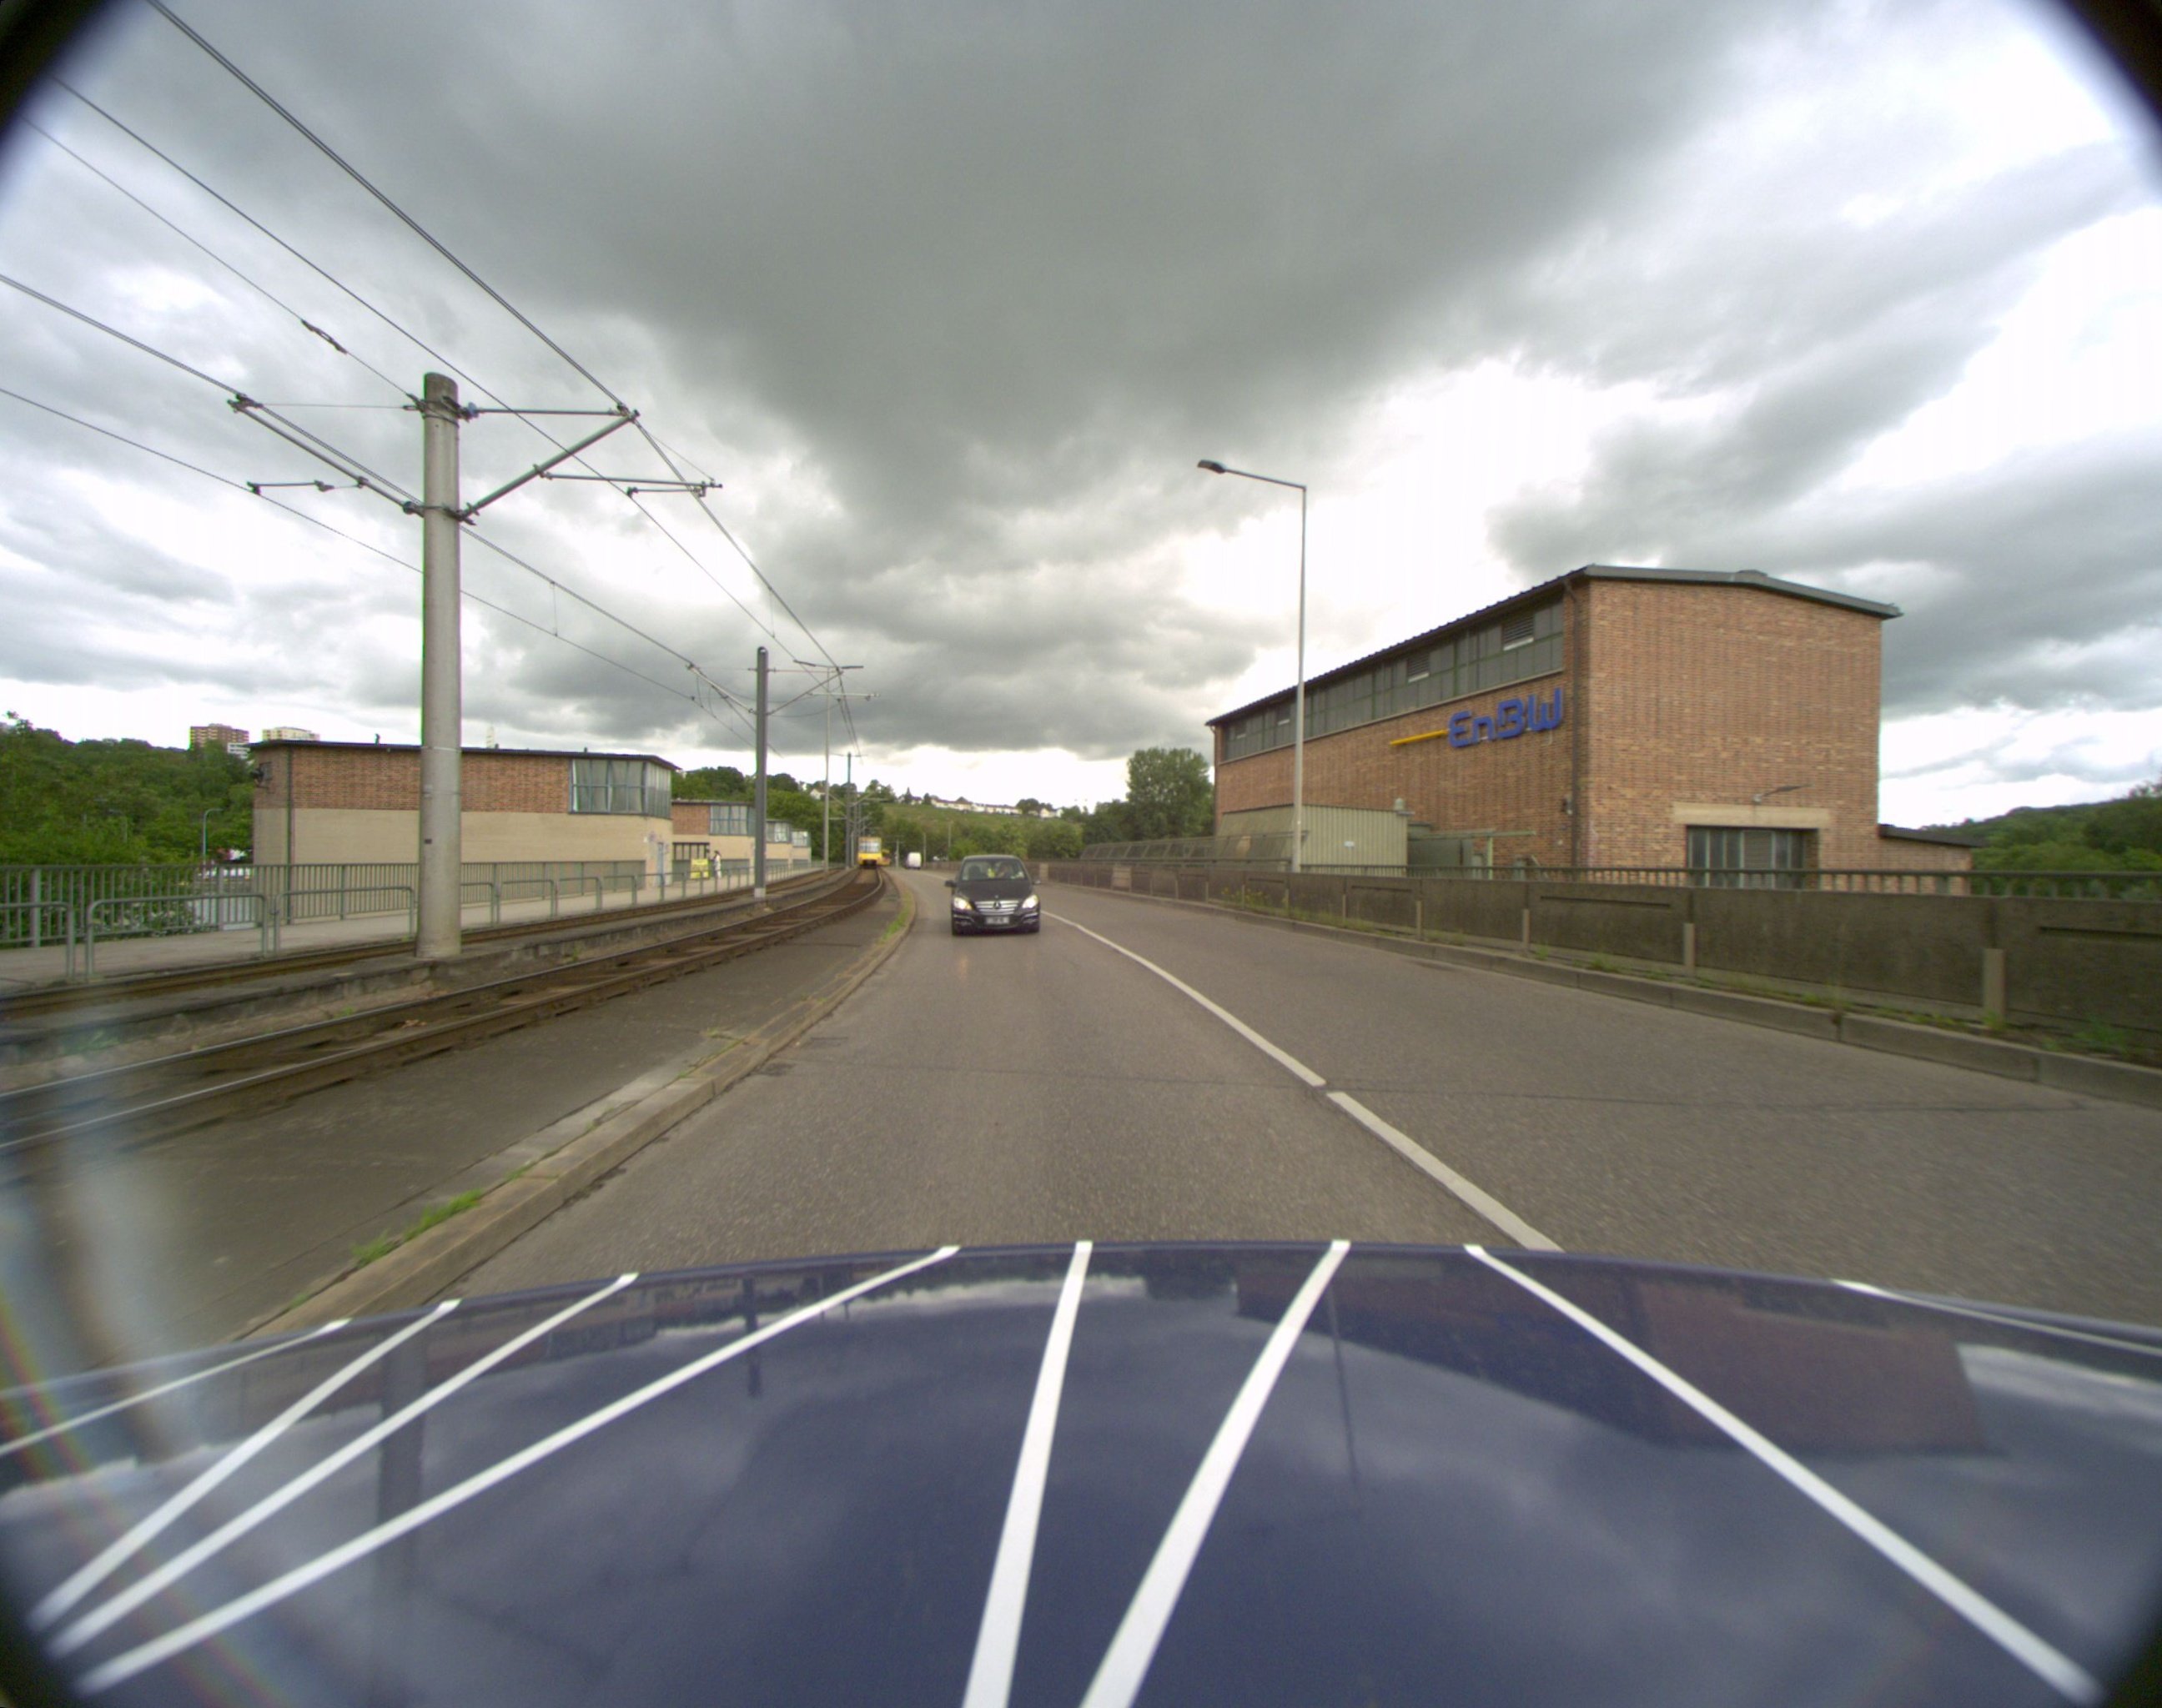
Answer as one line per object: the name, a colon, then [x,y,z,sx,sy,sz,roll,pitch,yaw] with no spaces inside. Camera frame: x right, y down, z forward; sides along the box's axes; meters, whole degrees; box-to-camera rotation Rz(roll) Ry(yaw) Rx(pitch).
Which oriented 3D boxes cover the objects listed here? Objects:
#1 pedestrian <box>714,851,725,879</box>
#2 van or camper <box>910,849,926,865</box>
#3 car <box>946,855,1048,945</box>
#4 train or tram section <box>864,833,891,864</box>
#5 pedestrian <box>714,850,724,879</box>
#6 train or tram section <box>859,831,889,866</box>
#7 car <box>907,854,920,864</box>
pedestrian: [-21.181,0.624,44.536,0.512,1.655,0.351,0,1,-19]
van or camper: [-25.898,0.483,120.795,2.159,2.461,4.704,-1,0,-16]
car: [-1.755,0.861,16.341,1.861,1.612,3.998,-3,0,-5]
train or tram section: [-26.346,-0.660,98.644,3.034,3.895,9.431,0,0,-13]
pedestrian: [-21.047,0.612,44.180,0.512,1.655,0.351,0,1,-19]
train or tram section: [-24.270,-0.593,89.435,3.034,3.895,9.431,0,0,-13]
car: [-29.281,0.881,132.944,2.001,1.565,3.994,-1,1,-16]
